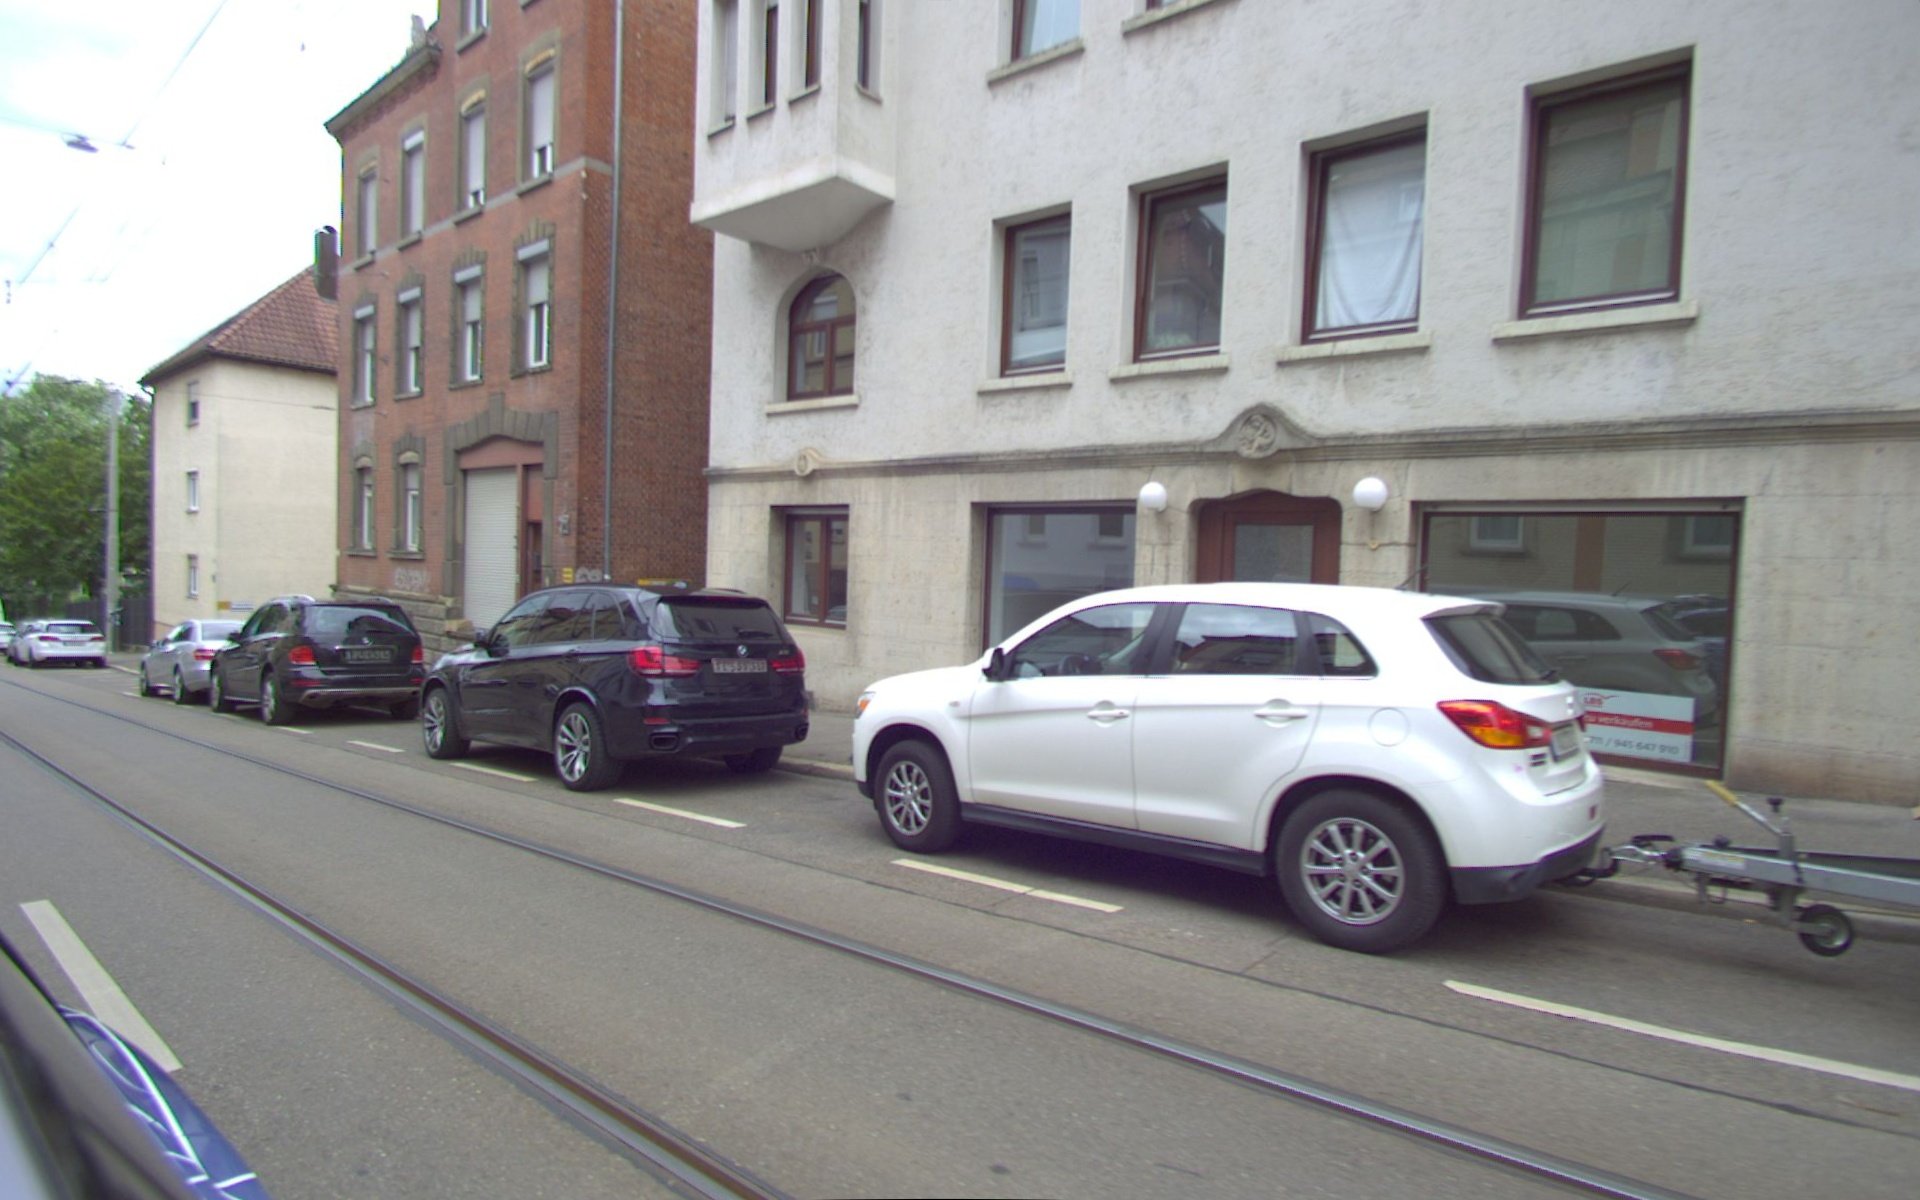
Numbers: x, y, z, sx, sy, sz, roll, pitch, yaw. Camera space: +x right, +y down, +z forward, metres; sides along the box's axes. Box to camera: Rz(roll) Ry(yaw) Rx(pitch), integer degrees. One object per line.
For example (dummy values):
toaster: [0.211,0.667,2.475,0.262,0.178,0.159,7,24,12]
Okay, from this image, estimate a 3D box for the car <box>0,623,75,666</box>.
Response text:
car: [-31.665,1.513,34.633,3.806,1.379,1.583,-2,-5,42]

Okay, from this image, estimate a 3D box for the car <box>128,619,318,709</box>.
car: [-13.597,1.108,18.559,4.837,1.440,1.808,-2,-3,42]

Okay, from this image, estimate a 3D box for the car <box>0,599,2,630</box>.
car: [-49.222,1.289,49.834,6.213,2.627,2.137,-1,-4,40]

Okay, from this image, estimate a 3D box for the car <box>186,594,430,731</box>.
car: [-9.906,0.874,15.204,4.911,1.731,1.808,-2,-3,42]

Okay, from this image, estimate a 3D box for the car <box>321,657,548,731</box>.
car: [-14.438,2.652,28.087,1.940,1.832,5.119,-1,-6,41]

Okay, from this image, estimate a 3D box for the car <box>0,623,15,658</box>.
car: [-41.606,1.689,42.942,4.311,1.413,1.701,-1,-4,41]

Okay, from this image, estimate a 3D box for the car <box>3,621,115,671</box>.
car: [-28.014,1.424,31.414,4.622,1.440,1.809,-1,-4,39]

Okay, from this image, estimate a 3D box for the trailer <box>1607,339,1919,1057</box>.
trailer: [4.402,0.293,2.892,4.070,2.172,1.730,-2,-3,42]

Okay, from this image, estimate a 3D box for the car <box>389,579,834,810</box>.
car: [-3.528,0.764,9.675,4.890,1.677,1.853,-2,-3,42]

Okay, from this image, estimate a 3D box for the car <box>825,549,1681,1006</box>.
car: [1.294,0.691,5.636,4.267,1.606,1.679,-2,-3,42]
